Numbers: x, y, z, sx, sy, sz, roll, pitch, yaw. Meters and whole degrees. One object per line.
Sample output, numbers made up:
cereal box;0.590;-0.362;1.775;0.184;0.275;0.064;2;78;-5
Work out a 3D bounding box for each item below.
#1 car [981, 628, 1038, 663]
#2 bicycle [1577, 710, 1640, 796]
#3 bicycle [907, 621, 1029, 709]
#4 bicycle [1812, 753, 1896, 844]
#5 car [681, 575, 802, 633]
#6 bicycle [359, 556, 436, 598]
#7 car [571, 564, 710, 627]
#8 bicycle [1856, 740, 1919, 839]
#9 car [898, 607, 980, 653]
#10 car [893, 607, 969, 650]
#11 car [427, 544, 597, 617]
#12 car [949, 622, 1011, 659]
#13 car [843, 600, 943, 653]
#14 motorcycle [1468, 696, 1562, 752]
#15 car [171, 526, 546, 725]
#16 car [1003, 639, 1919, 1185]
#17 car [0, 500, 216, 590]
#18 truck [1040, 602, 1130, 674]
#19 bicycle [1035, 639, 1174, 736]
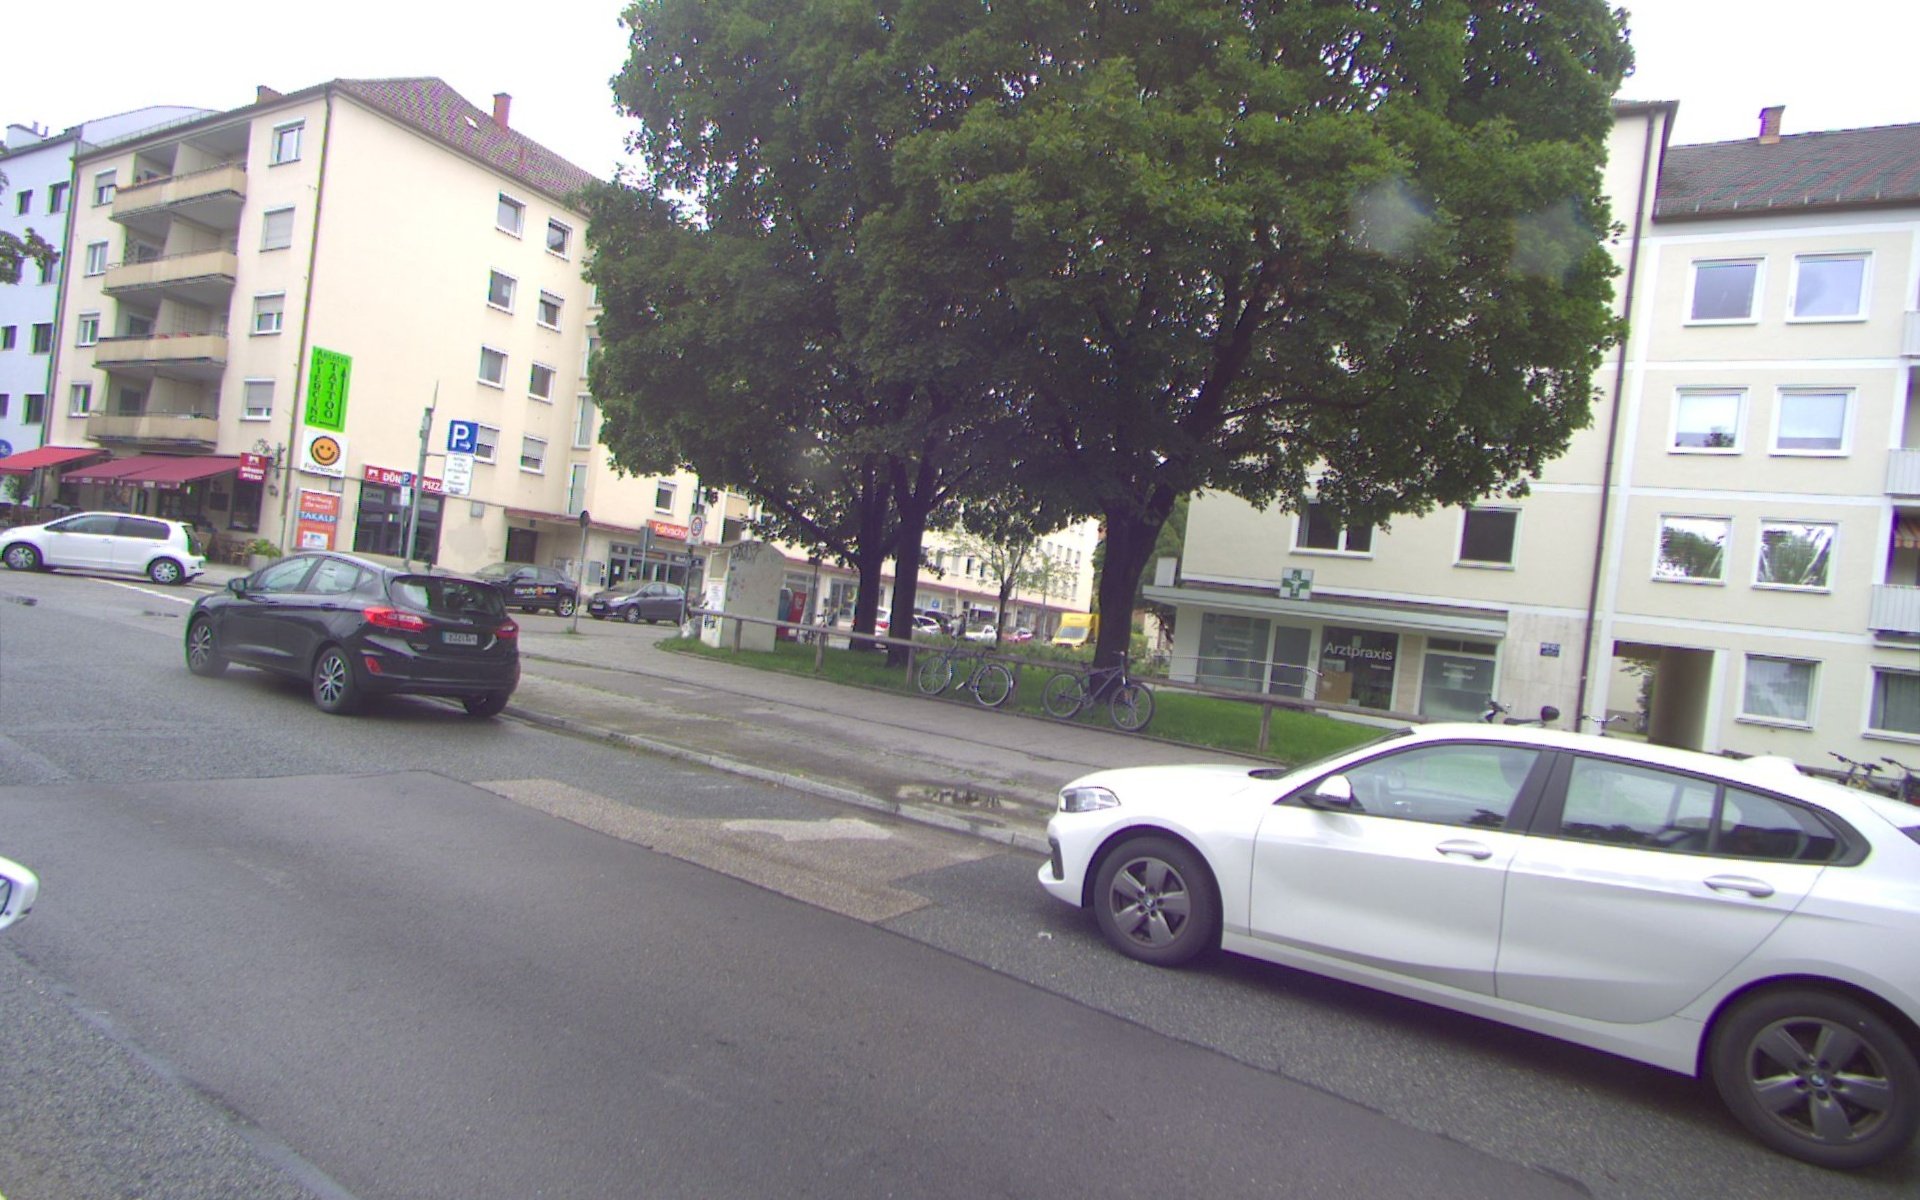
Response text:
car;3.078;2.825;62.079;1.839;1.679;4.089;7;-2;27
bicycle;8.337;1.942;12.978;0.548;0.950;1.881;7;-2;32
bicycle;0.108;0.990;15.541;1.823;1.118;0.390;7;-1;32
bicycle;11.694;2.559;13.201;0.425;0.985;1.881;7;-2;32
car;-8.490;0.204;39.555;1.840;1.795;4.743;7;0;29
bicycle;-16.340;-0.653;29.264;0.548;0.968;1.852;7;-2;30
car;-10.903;-0.101;34.604;1.839;1.681;4.401;7;0;28
bicycle;10.749;2.140;11.450;0.425;0.985;1.881;7;-2;32
car;-0.953;1.498;49.015;1.839;1.679;4.740;7;-3;27
car;-1.464;1.525;52.967;1.839;1.679;4.751;7;-3;27
car;-13.395;-0.528;30.365;1.838;1.681;4.403;7;0;26
car;1.219;2.361;58.261;1.839;1.679;4.089;7;-2;27
car;-2.665;1.125;41.126;1.839;1.680;4.404;8;-1;28
motorcycle;13.340;2.974;24.204;1.875;1.035;0.605;7;-1;32
car;-6.160;0.234;10.233;3.613;1.482;1.621;7;-3;31
car;2.483;1.259;5.129;4.067;1.481;1.687;7;-3;30
car;-18.857;-1.198;22.270;3.522;1.434;1.857;8;0;-30
truck;7.054;2.212;55.648;2.318;3.282;7.426;7;-2;26
bicycle;2.042;1.229;14.379;1.852;1.116;0.382;7;-1;32
